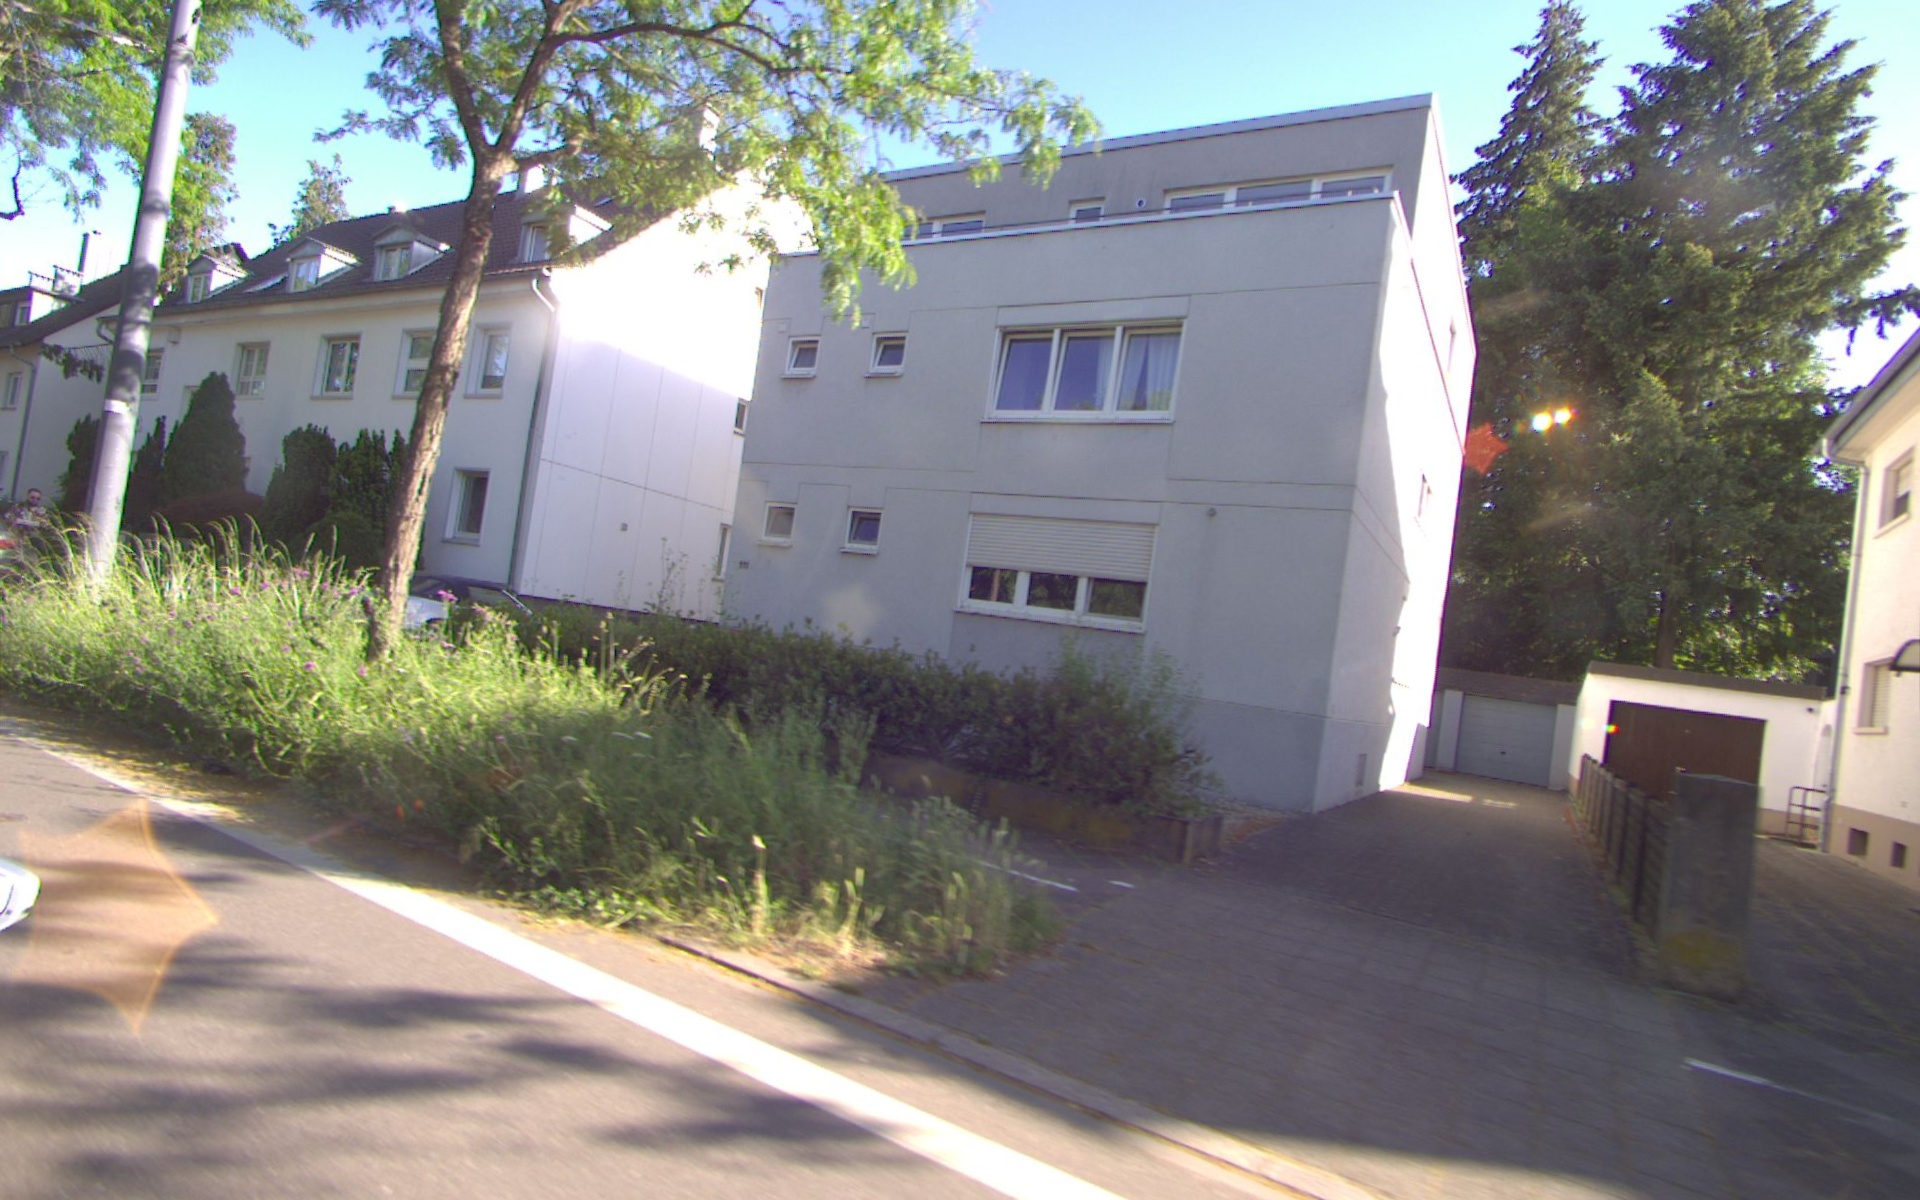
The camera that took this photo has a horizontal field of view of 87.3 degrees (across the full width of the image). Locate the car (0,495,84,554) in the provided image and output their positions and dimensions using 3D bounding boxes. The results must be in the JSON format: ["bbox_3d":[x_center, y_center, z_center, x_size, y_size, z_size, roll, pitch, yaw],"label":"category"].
[{"bbox_3d":[-28.885,-2.411,29.500,1.828,1.508,4.425,7,0,34],"label":"car"}]

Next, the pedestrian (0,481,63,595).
[{"bbox_3d":[-16.330,-1.077,17.617,0.719,1.894,0.626,7,1,30],"label":"pedestrian"}]

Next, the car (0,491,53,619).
[{"bbox_3d":[-15.273,-0.879,14.462,4.402,1.726,1.996,7,0,30],"label":"car"}]

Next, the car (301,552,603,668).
[{"bbox_3d":[-8.353,0.242,16.918,1.846,1.357,4.061,7,-3,31],"label":"car"}]
